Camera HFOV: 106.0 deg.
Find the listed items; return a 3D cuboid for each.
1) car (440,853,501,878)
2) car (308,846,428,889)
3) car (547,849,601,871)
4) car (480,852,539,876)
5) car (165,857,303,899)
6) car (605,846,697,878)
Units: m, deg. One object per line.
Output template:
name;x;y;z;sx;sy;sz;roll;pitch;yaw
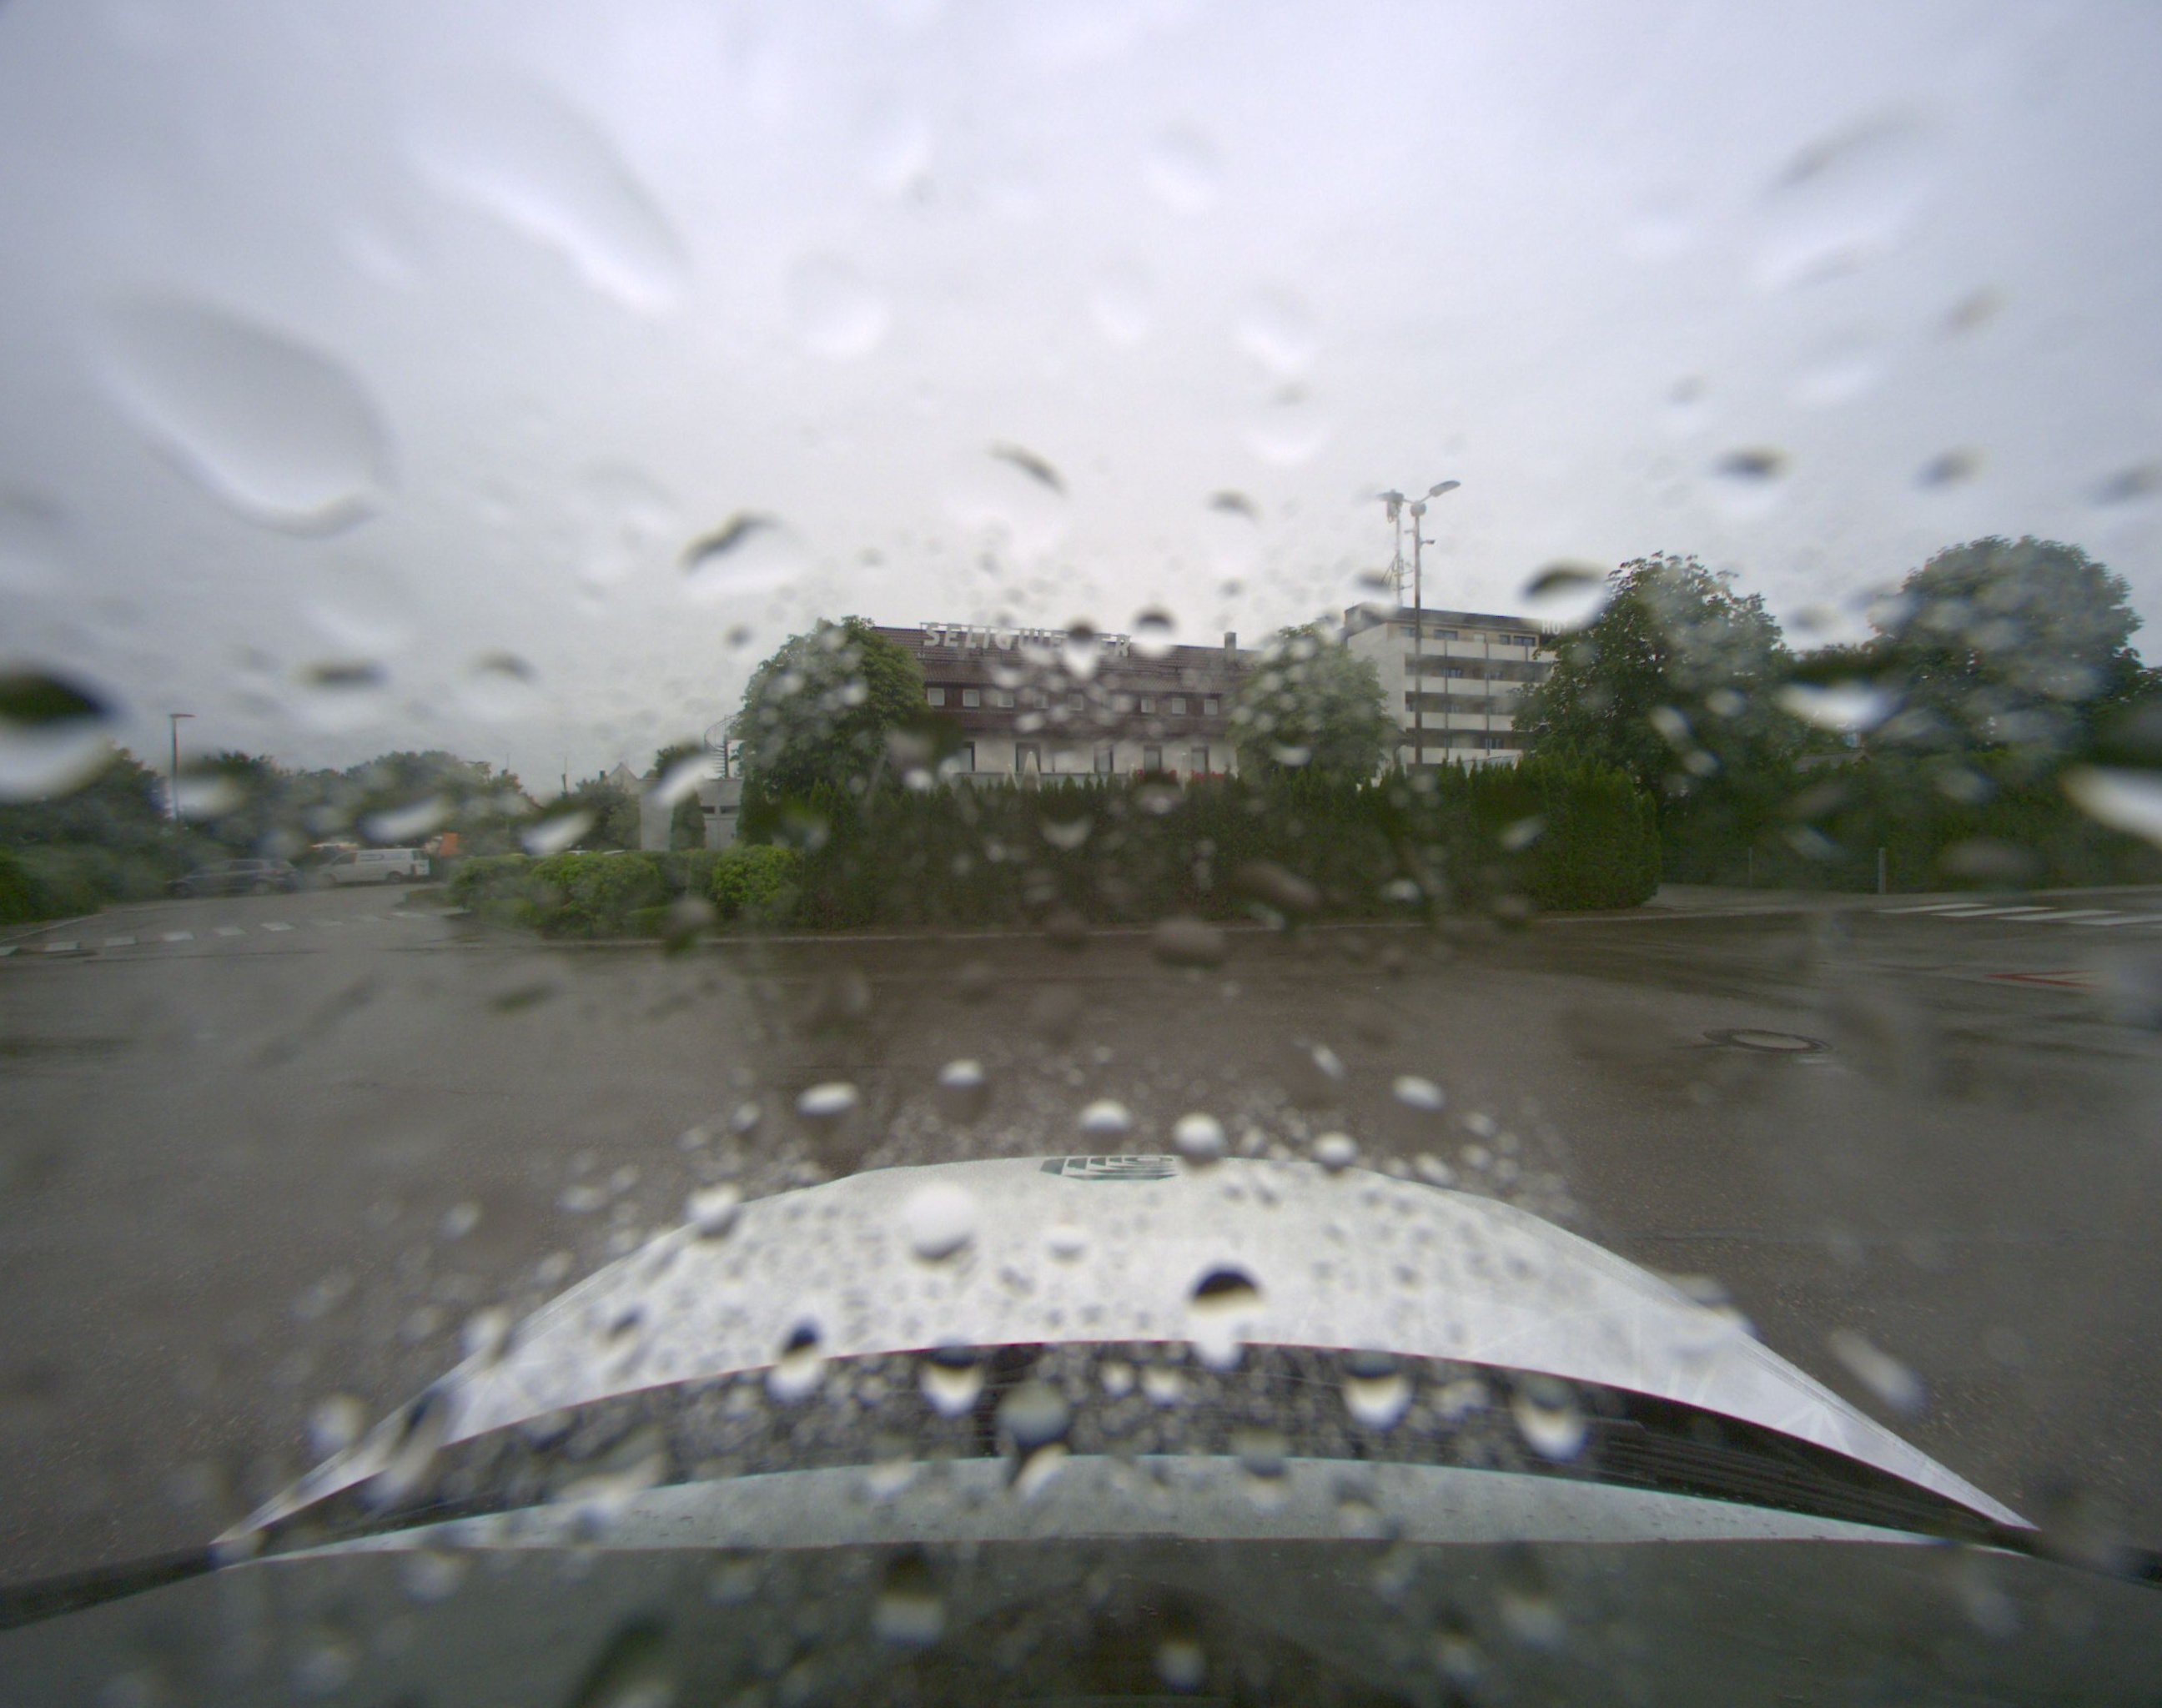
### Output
car;-39.108;0.768;52.147;3.634;1.458;1.565;-1;2;26
car;-38.710;0.696;44.343;4.533;2.033;1.635;-3;2;-18
car;-37.211;0.431;59.713;3.634;1.458;1.595;-1;2;26
car;-38.206;0.641;54.393;3.634;1.458;1.595;-1;2;26
car;-36.034;0.987;34.740;3.743;1.550;1.442;-3;2;-18
car;-23.620;0.430;44.867;4.188;1.497;1.707;-3;2;-19
